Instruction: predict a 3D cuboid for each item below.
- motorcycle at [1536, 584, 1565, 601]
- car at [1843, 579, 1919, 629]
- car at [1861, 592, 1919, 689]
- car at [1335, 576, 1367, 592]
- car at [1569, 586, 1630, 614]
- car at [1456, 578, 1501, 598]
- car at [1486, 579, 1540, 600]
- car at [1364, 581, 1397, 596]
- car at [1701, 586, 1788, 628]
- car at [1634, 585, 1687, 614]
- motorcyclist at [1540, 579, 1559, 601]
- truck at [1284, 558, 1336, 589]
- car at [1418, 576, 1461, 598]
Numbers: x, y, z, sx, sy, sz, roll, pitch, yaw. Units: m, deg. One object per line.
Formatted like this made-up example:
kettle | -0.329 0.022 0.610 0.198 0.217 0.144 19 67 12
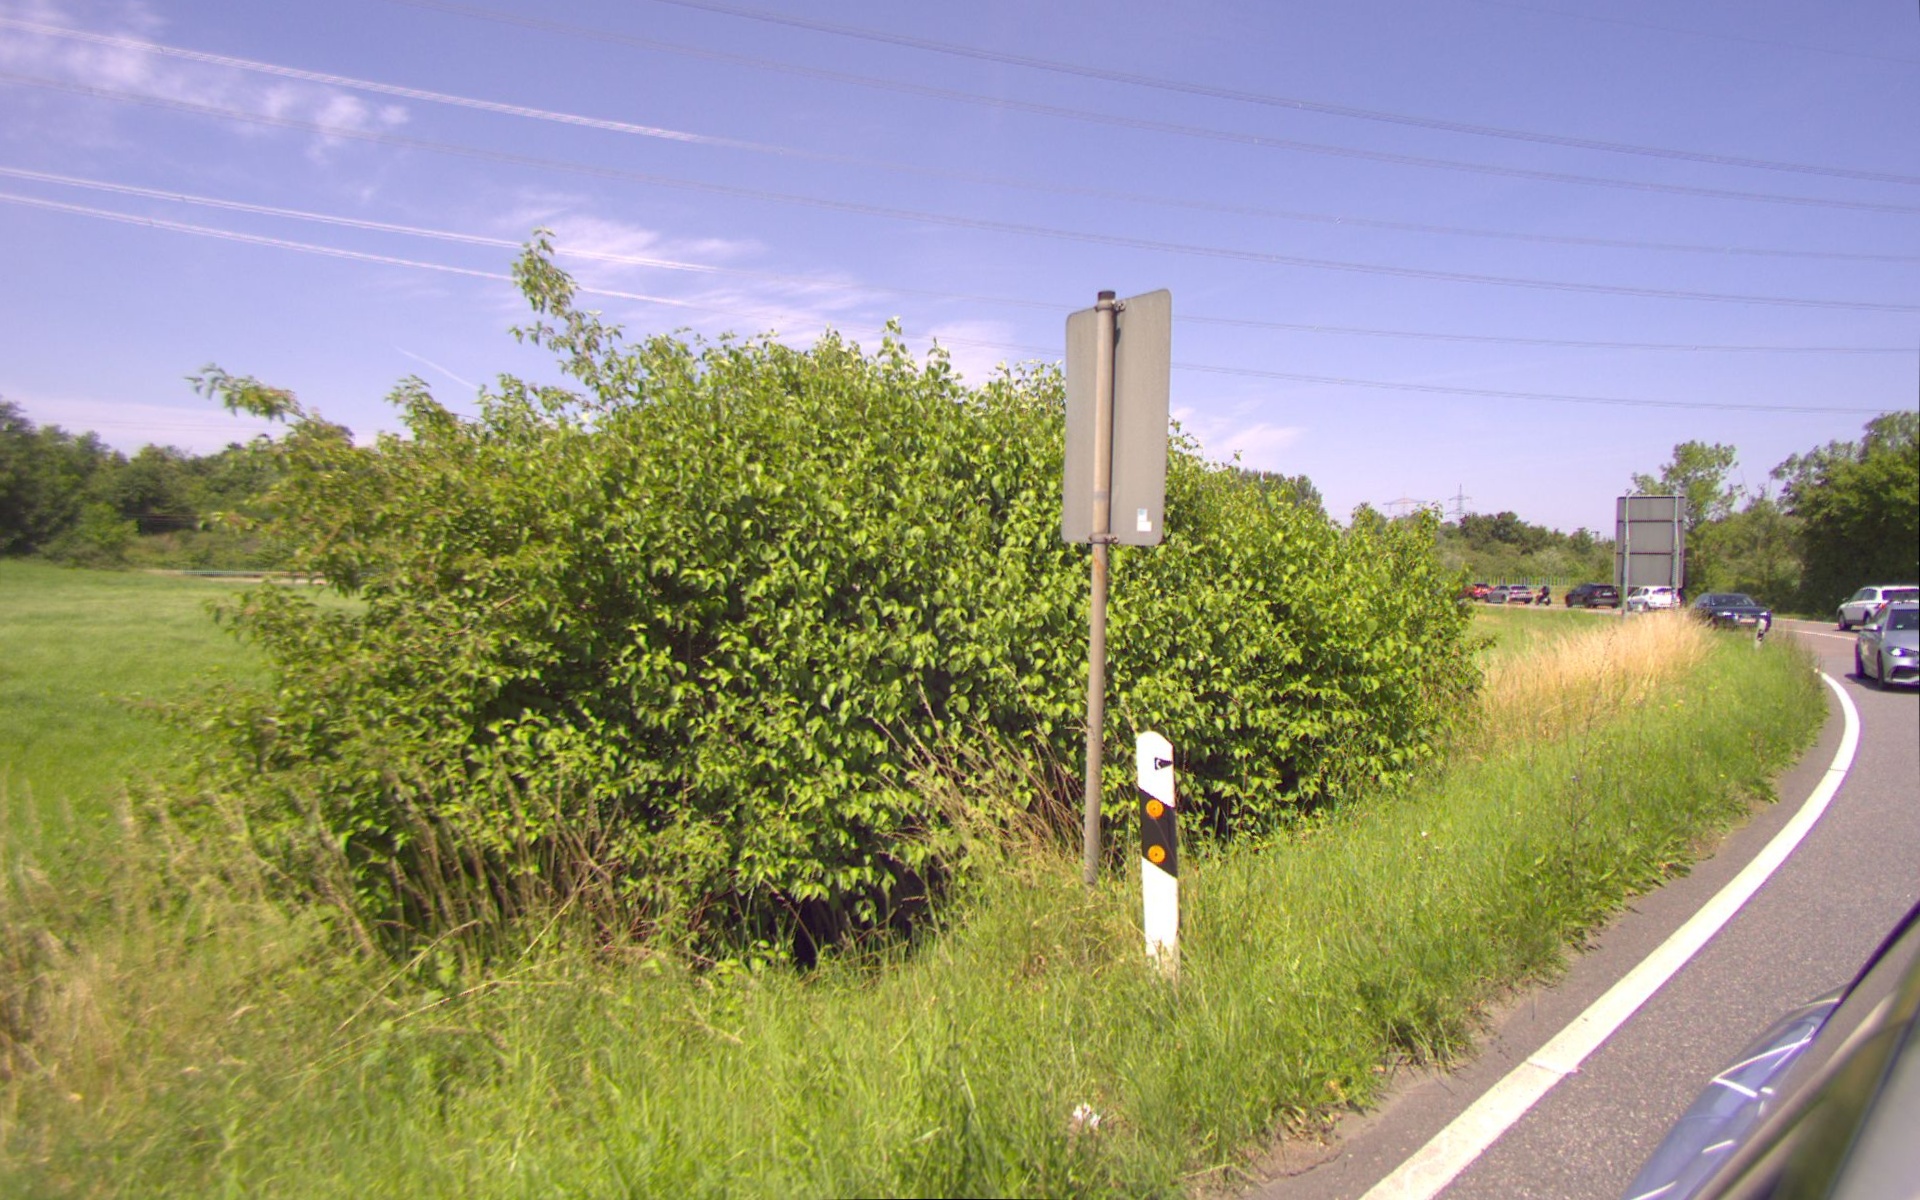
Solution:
motorcycle | 43.122 -0.534 73.962 0.770 1.137 2.428 -1 2 3
car | 32.445 0.102 34.777 1.841 1.622 4.737 -1 0 25
car | 16.803 0.624 17.167 1.814 1.505 4.095 -1 0 36
car | 42.969 -1.802 111.337 1.744 1.641 4.332 -1 1 -1
car | 41.991 -0.035 66.550 1.678 1.658 4.242 -1 1 7
car | 43.634 -1.023 85.277 1.772 1.534 4.389 1 2 4
car | 43.077 -0.827 78.983 1.814 1.478 4.806 0 2 4
car | 43.028 -1.196 103.641 1.606 1.477 4.009 0 1 -1
car | 29.970 0.232 38.790 1.808 1.457 4.110 1 2 27
car | 40.658 -0.049 58.816 1.521 1.460 3.587 -2 2 19
motorcyclist | 43.101 -0.739 74.002 0.769 1.513 1.130 0 2 4
truck | 41.555 -3.115 120.284 2.557 3.514 7.623 1 1 -8
car | 43.613 -1.189 92.202 1.896 1.855 4.438 0 2 2
